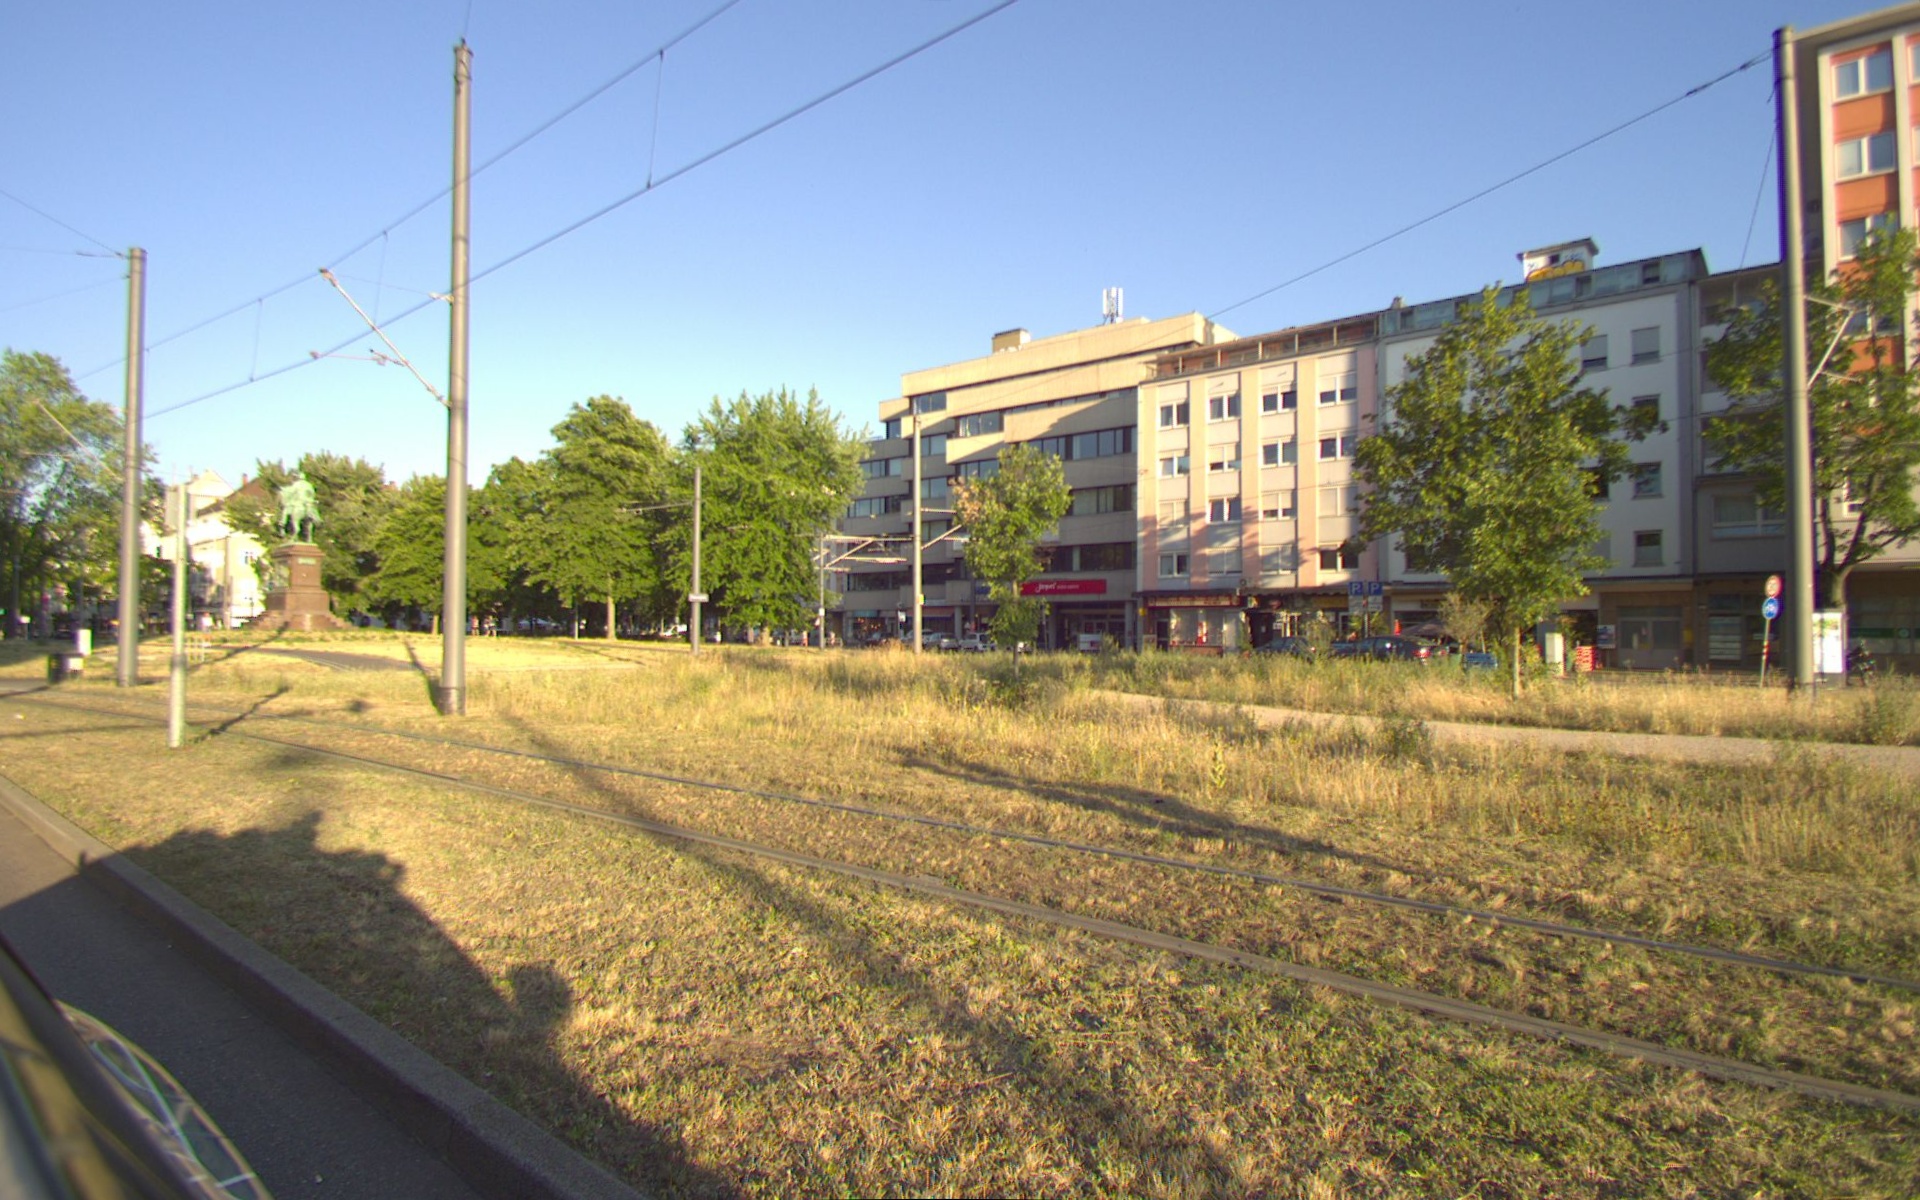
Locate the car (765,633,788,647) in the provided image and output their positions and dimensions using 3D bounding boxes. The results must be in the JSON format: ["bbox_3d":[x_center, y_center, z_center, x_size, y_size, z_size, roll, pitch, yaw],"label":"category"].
[{"bbox_3d":[-21.795,4.722,120.073,1.766,1.592,4.013,0,-3,-23],"label":"car"}]

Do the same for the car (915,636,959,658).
[{"bbox_3d":[-1.778,3.579,76.866,1.729,1.564,4.012,1,-3,-27],"label":"car"}]

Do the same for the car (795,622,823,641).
[{"bbox_3d":[-16.115,3.384,107.708,1.729,1.959,4.222,1,-3,-27],"label":"car"}]

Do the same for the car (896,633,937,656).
[{"bbox_3d":[-3.567,3.623,82.042,1.729,1.808,4.222,1,-3,-27],"label":"car"}]

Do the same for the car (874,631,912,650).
[{"bbox_3d":[-5.872,3.558,87.921,1.833,1.569,4.081,1,-3,-27],"label":"car"}]

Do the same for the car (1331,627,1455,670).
[{"bbox_3d":[16.760,1.903,39.415,1.729,1.538,4.305,1,-3,-27],"label":"car"}]

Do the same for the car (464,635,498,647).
[{"bbox_3d":[-68.247,5.851,144.303,1.856,1.719,3.950,-3,-4,36],"label":"car"}]

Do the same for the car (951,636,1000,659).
[{"bbox_3d":[1.056,3.393,71.583,1.729,1.564,4.012,1,-3,-27],"label":"car"}]

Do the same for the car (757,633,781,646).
[{"bbox_3d":[-21.622,4.457,114.568,1.681,1.401,4.013,0,-3,-25],"label":"car"}]

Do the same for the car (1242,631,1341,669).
[{"bbox_3d":[14.418,2.191,44.254,1.729,1.538,4.012,1,-3,-27],"label":"car"}]

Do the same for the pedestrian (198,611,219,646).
[{"bbox_3d":[-36.887,1.407,49.682,0.831,1.703,0.472,-2,-3,26],"label":"pedestrian"}]

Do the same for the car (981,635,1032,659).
[{"bbox_3d":[3.051,3.125,66.832,1.729,1.564,4.013,0,-3,-24],"label":"car"}]

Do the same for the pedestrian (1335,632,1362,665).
[{"bbox_3d":[18.069,2.247,47.049,0.852,1.540,1.107,-3,-4,38],"label":"pedestrian"}]

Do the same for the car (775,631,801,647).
[{"bbox_3d":[-19.562,4.443,114.988,1.729,1.676,4.012,1,-3,-27],"label":"car"}]

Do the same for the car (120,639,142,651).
[{"bbox_3d":[-114.512,6.245,139.753,3.965,1.564,1.701,-3,-4,41],"label":"car"}]

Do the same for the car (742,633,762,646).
[{"bbox_3d":[-27.045,5.171,131.496,1.766,1.592,4.013,0,-3,-23],"label":"car"}]

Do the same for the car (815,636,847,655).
[{"bbox_3d":[-12.994,4.620,101.785,1.906,1.808,4.222,1,-3,-27],"label":"car"}]

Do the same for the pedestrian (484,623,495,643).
[{"bbox_3d":[-37.932,2.648,81.532,0.553,1.593,0.611,-4,-4,42],"label":"pedestrian"}]
